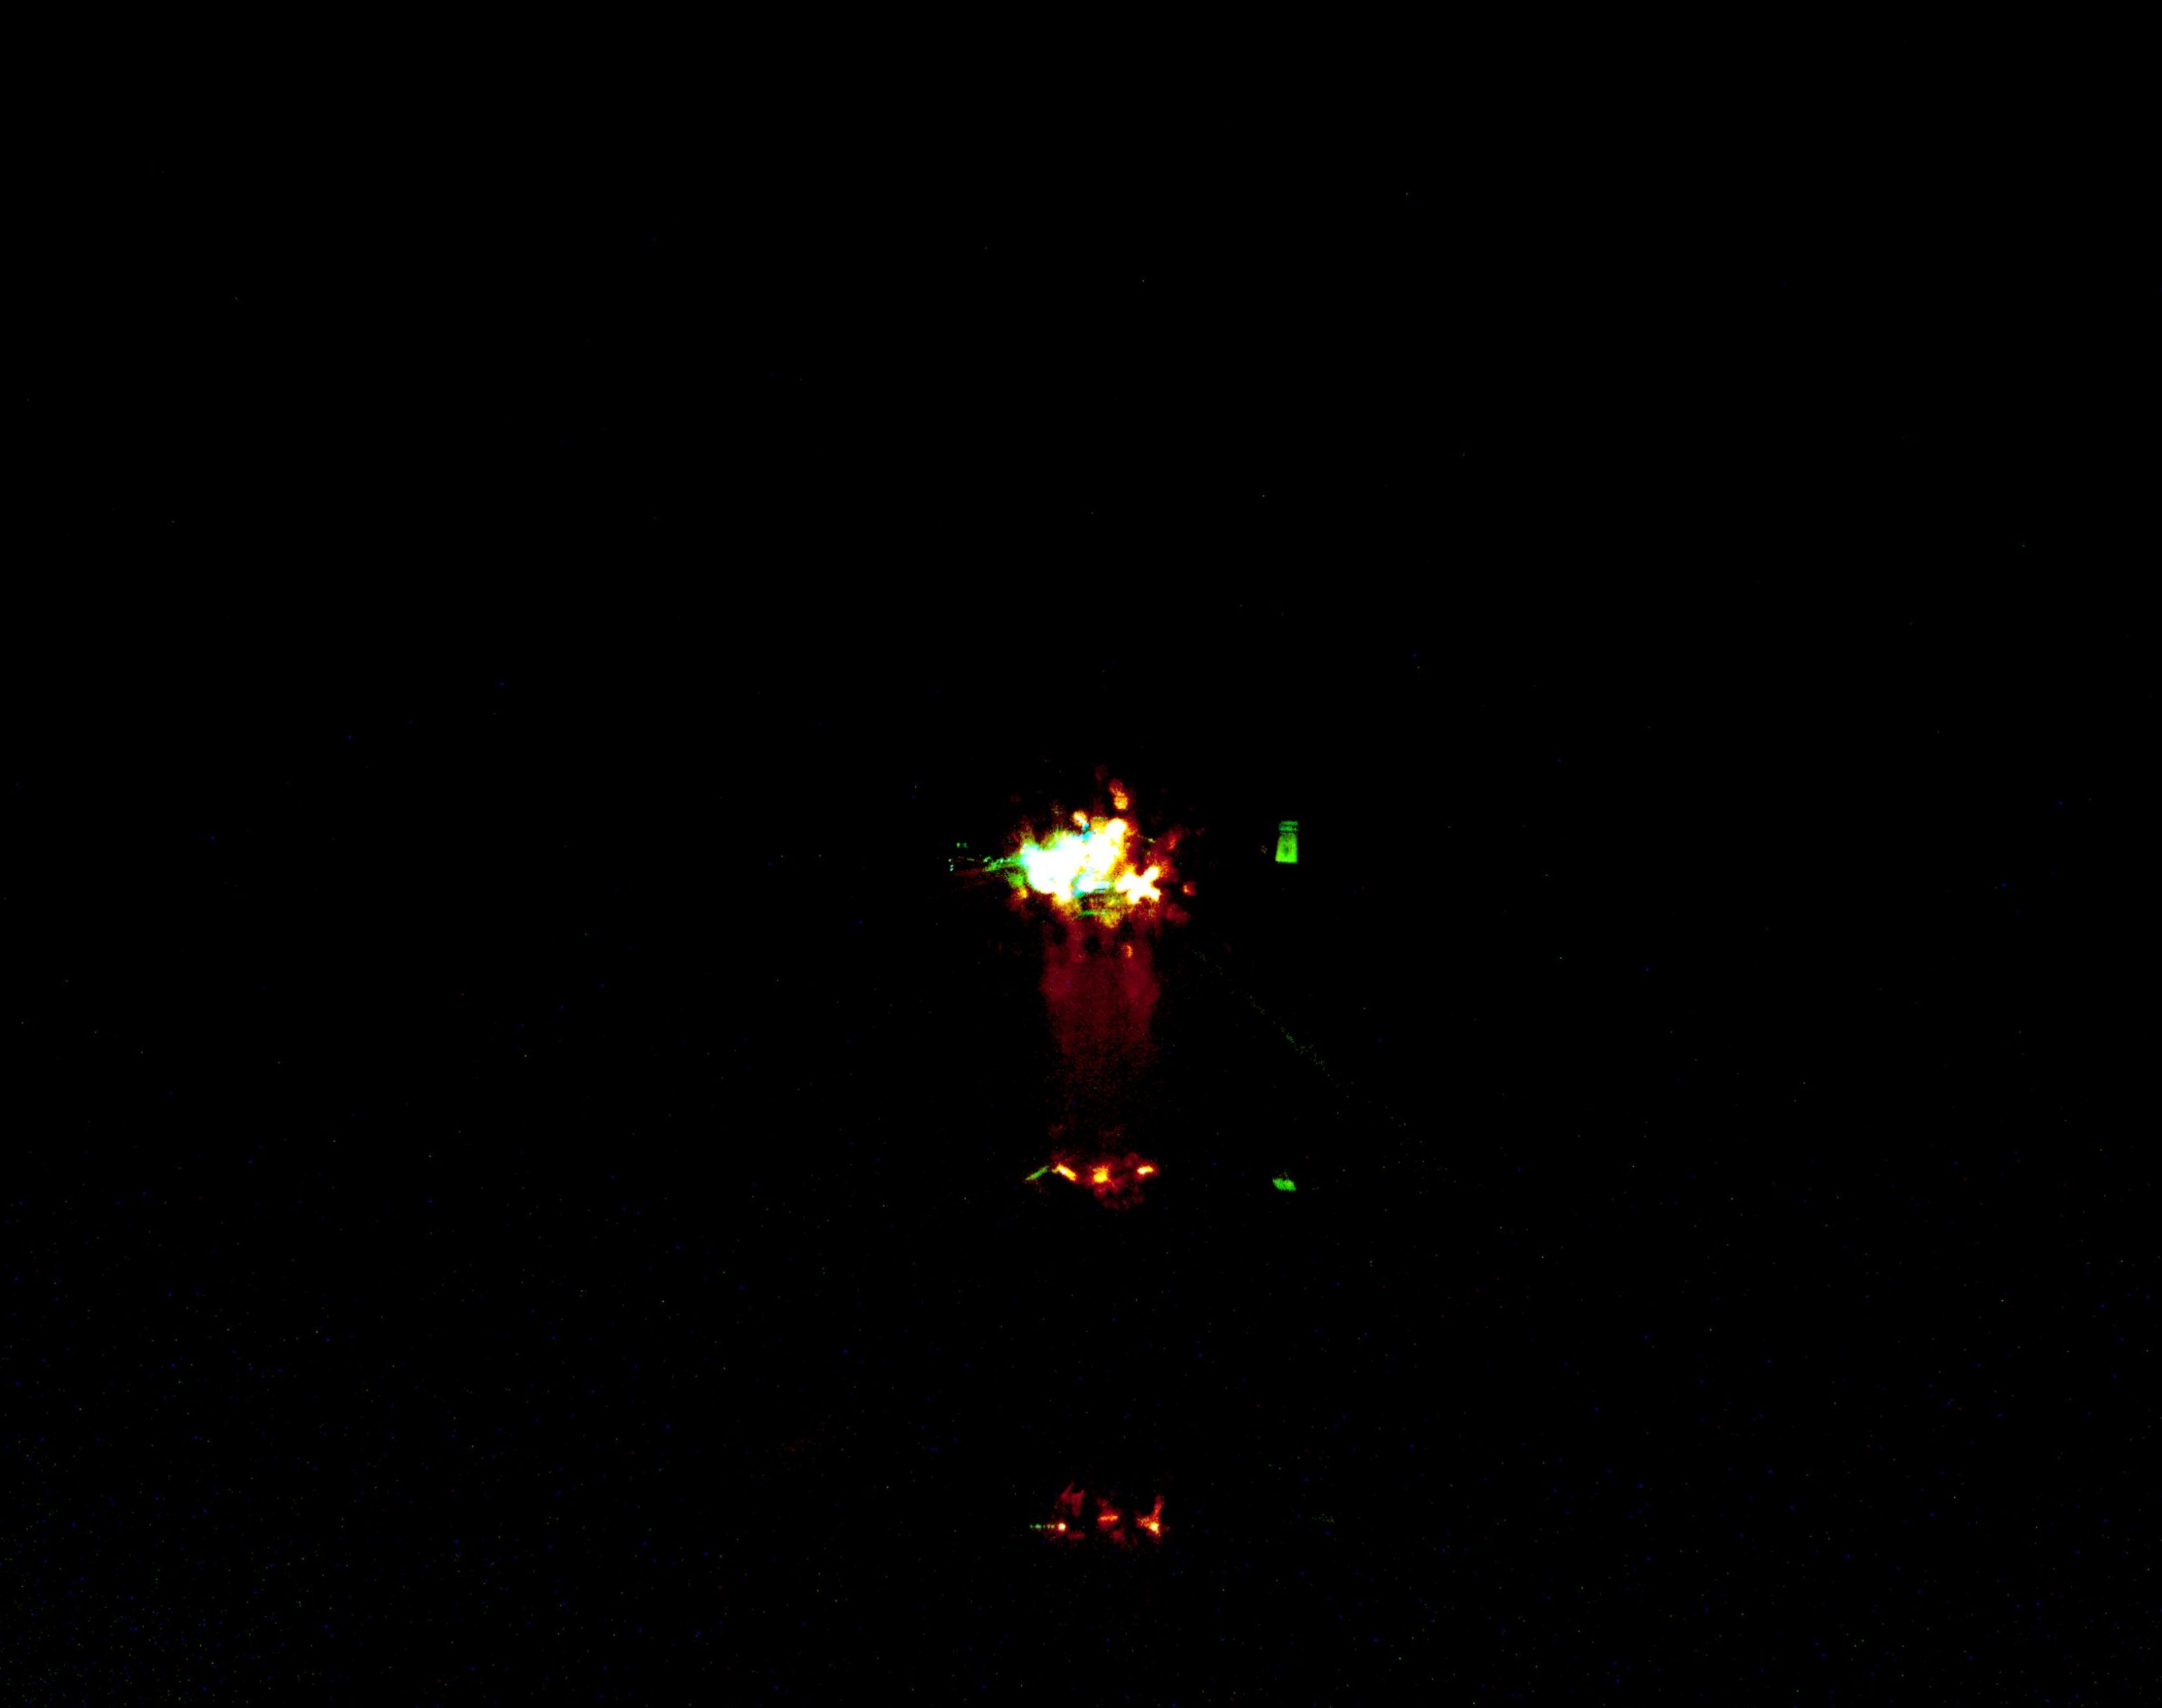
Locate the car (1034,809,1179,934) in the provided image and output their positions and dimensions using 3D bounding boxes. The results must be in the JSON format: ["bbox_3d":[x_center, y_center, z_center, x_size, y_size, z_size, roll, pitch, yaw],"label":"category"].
[{"bbox_3d":[0.469,0.334,18.435,2.707,2.307,6.099,-1,0,0],"label":"car"}]

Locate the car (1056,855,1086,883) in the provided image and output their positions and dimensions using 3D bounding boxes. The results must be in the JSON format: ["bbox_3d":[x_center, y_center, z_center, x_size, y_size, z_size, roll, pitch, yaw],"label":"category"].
[{"bbox_3d":[-0.673,1.033,57.182,1.987,1.915,3.999,0,0,0],"label":"car"}]
